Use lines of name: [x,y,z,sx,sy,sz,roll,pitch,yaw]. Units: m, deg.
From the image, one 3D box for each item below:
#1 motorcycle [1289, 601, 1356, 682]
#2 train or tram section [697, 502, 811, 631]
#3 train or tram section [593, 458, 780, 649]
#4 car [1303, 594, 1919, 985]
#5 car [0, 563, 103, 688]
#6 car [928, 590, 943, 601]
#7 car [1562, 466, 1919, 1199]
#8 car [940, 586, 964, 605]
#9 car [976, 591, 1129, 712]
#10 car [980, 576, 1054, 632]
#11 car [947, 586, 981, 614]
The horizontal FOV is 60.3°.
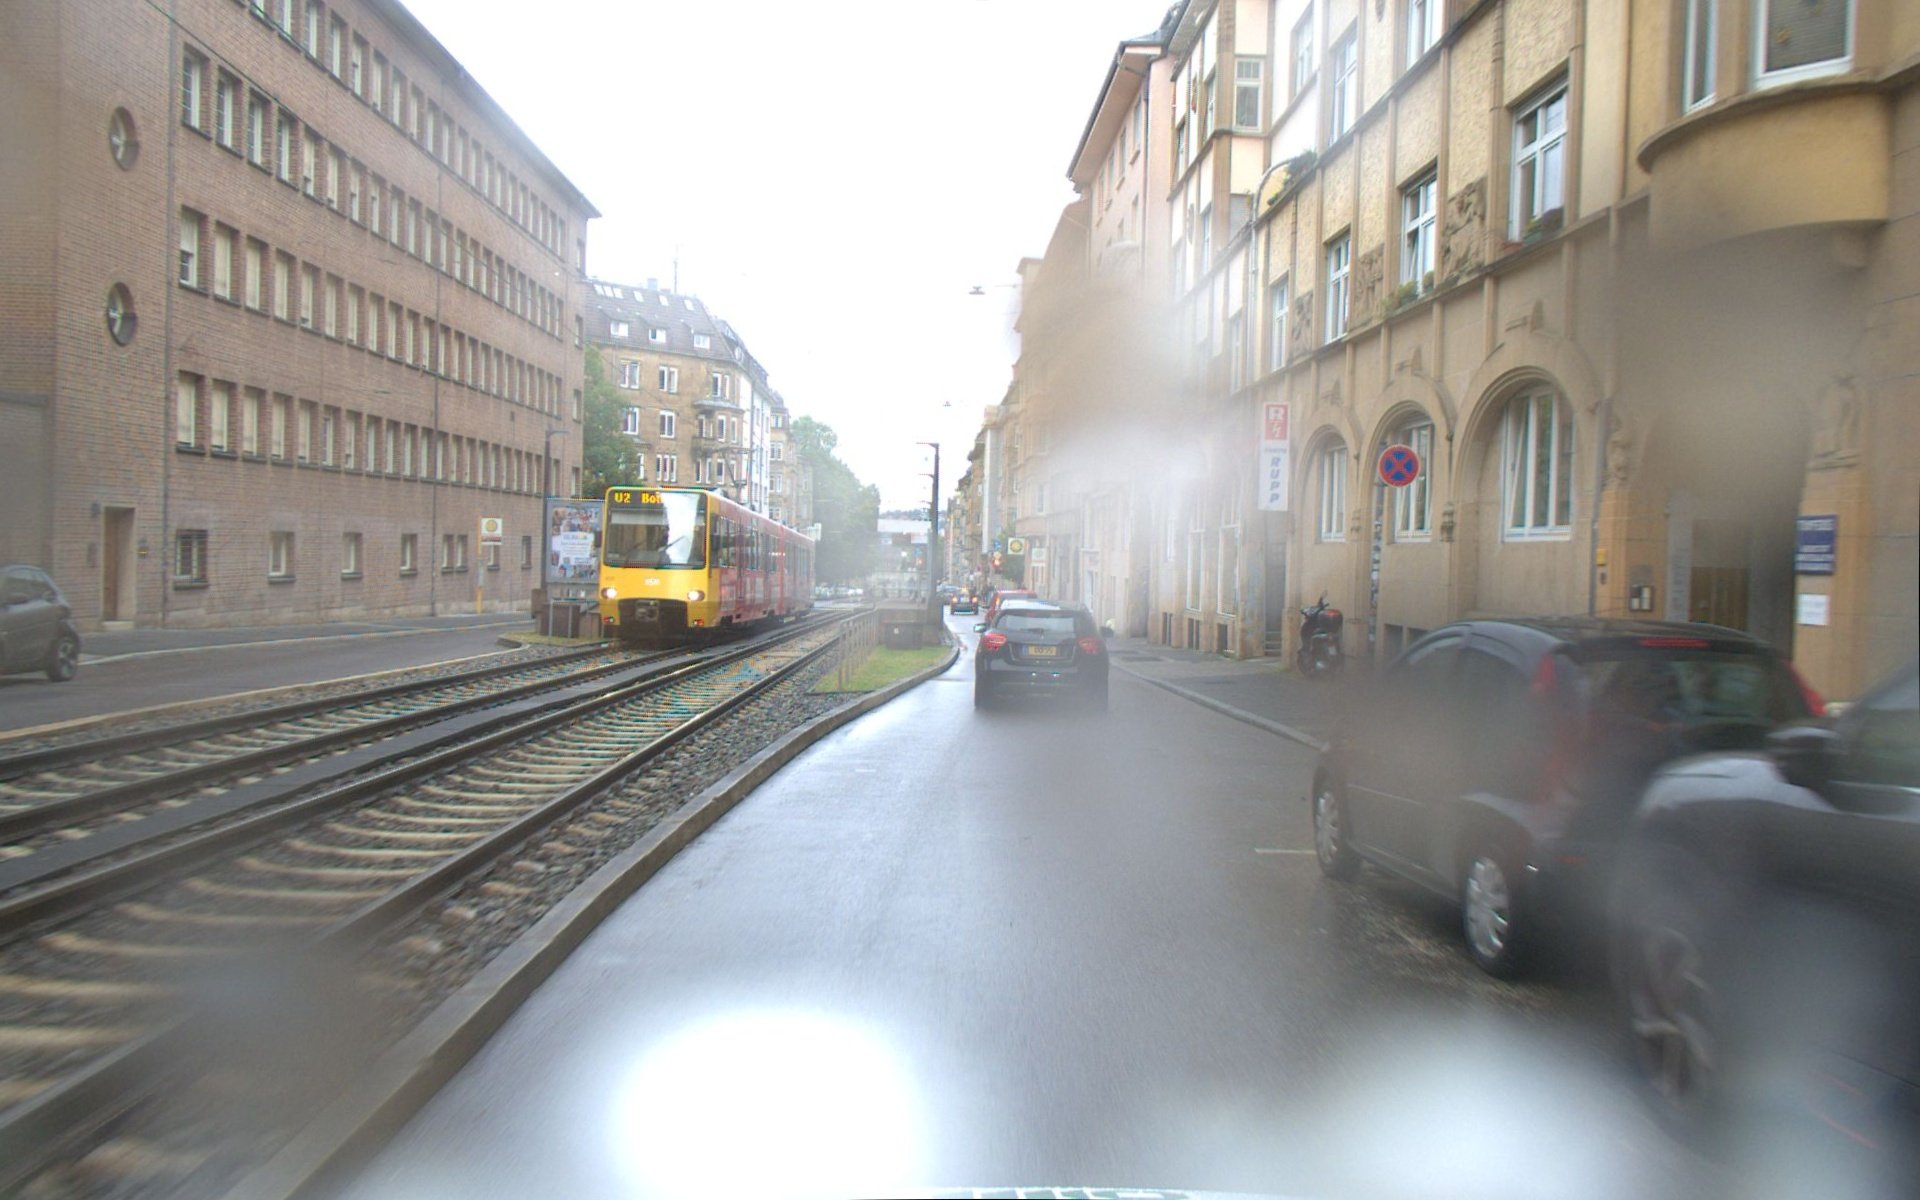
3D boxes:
motorcycle: [5.767,0.629,26.398,0.545,1.180,2.269,-3,1,1]
train or tram section: [-7.327,-1.131,60.997,2.690,4.132,15.656,1,0,-2]
train or tram section: [-6.901,-1.085,44.697,2.690,4.132,17.208,1,0,-2]
car: [2.897,0.754,8.093,1.560,1.465,3.307,2,-1,-3]
car: [-12.338,0.280,20.840,1.540,1.492,3.043,2,1,-3]
car: [-3.610,-0.650,241.164,2.091,1.552,4.244,2,0,-1]
car: [2.972,0.604,3.477,1.742,1.780,4.548,1,0,0]
car: [-0.731,-0.405,147.167,2.091,1.552,4.244,2,0,-1]
car: [1.175,0.641,22.584,1.797,1.478,3.901,1,0,-1]
car: [1.651,0.110,49.355,1.953,1.552,4.244,2,0,-1]
car: [0.254,0.016,96.285,1.848,1.552,4.246,2,0,1]
